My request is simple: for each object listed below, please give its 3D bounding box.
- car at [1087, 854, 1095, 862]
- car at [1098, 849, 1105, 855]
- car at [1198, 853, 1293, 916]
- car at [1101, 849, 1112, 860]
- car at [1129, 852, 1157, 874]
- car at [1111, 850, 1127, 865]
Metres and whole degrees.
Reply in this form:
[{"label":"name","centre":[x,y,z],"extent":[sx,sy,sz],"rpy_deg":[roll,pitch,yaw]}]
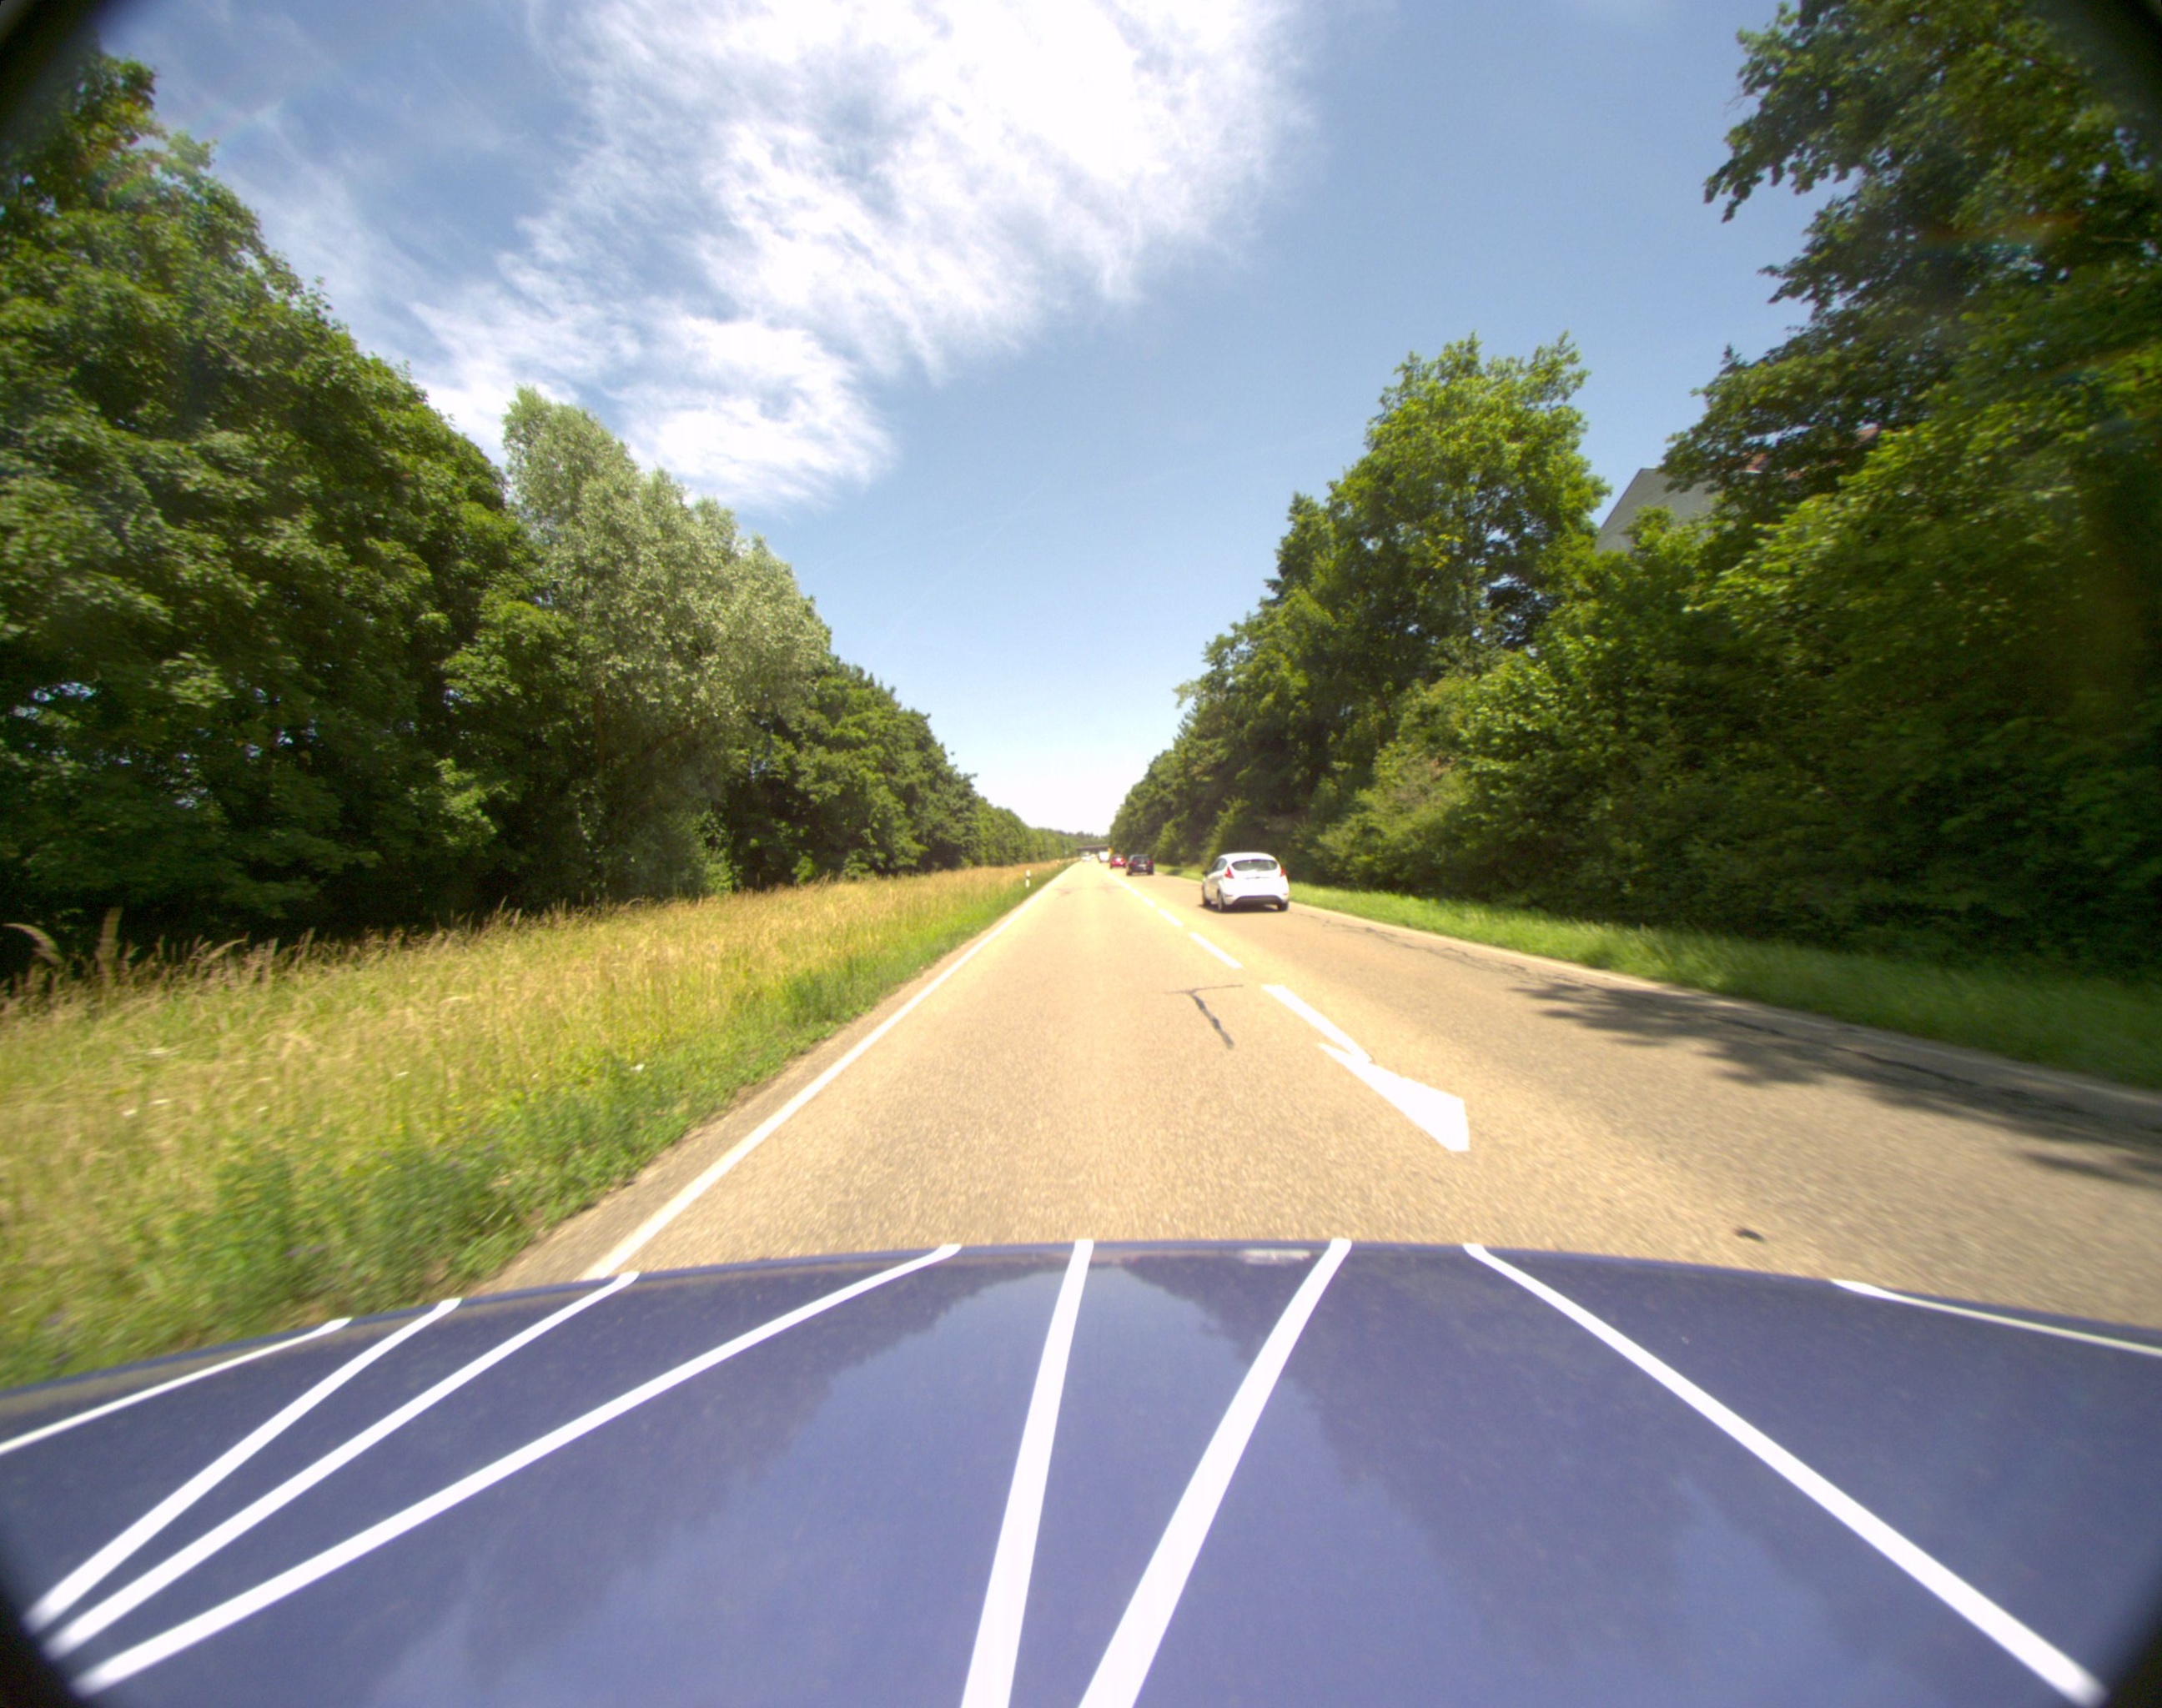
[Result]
[{"label":"car","centre":[2.522,0.920,186.888],"extent":[1.865,1.747,3.999],"rpy_deg":[-3,1,0]},{"label":"car","centre":[6.285,-0.543,230.760],"extent":[1.870,1.615,4.200],"rpy_deg":[-2,0,0]},{"label":"car","centre":[4.220,0.729,20.020],"extent":[1.682,1.425,3.772],"rpy_deg":[-2,1,1]},{"label":"car","centre":[4.775,0.059,143.642],"extent":[1.880,1.918,4.987],"rpy_deg":[-2,0,0]},{"label":"car","centre":[4.413,0.583,54.456],"extent":[1.788,1.441,4.109],"rpy_deg":[-2,0,2]},{"label":"car","centre":[4.167,0.348,83.749],"extent":[1.686,1.484,4.000],"rpy_deg":[-2,0,2]}]
